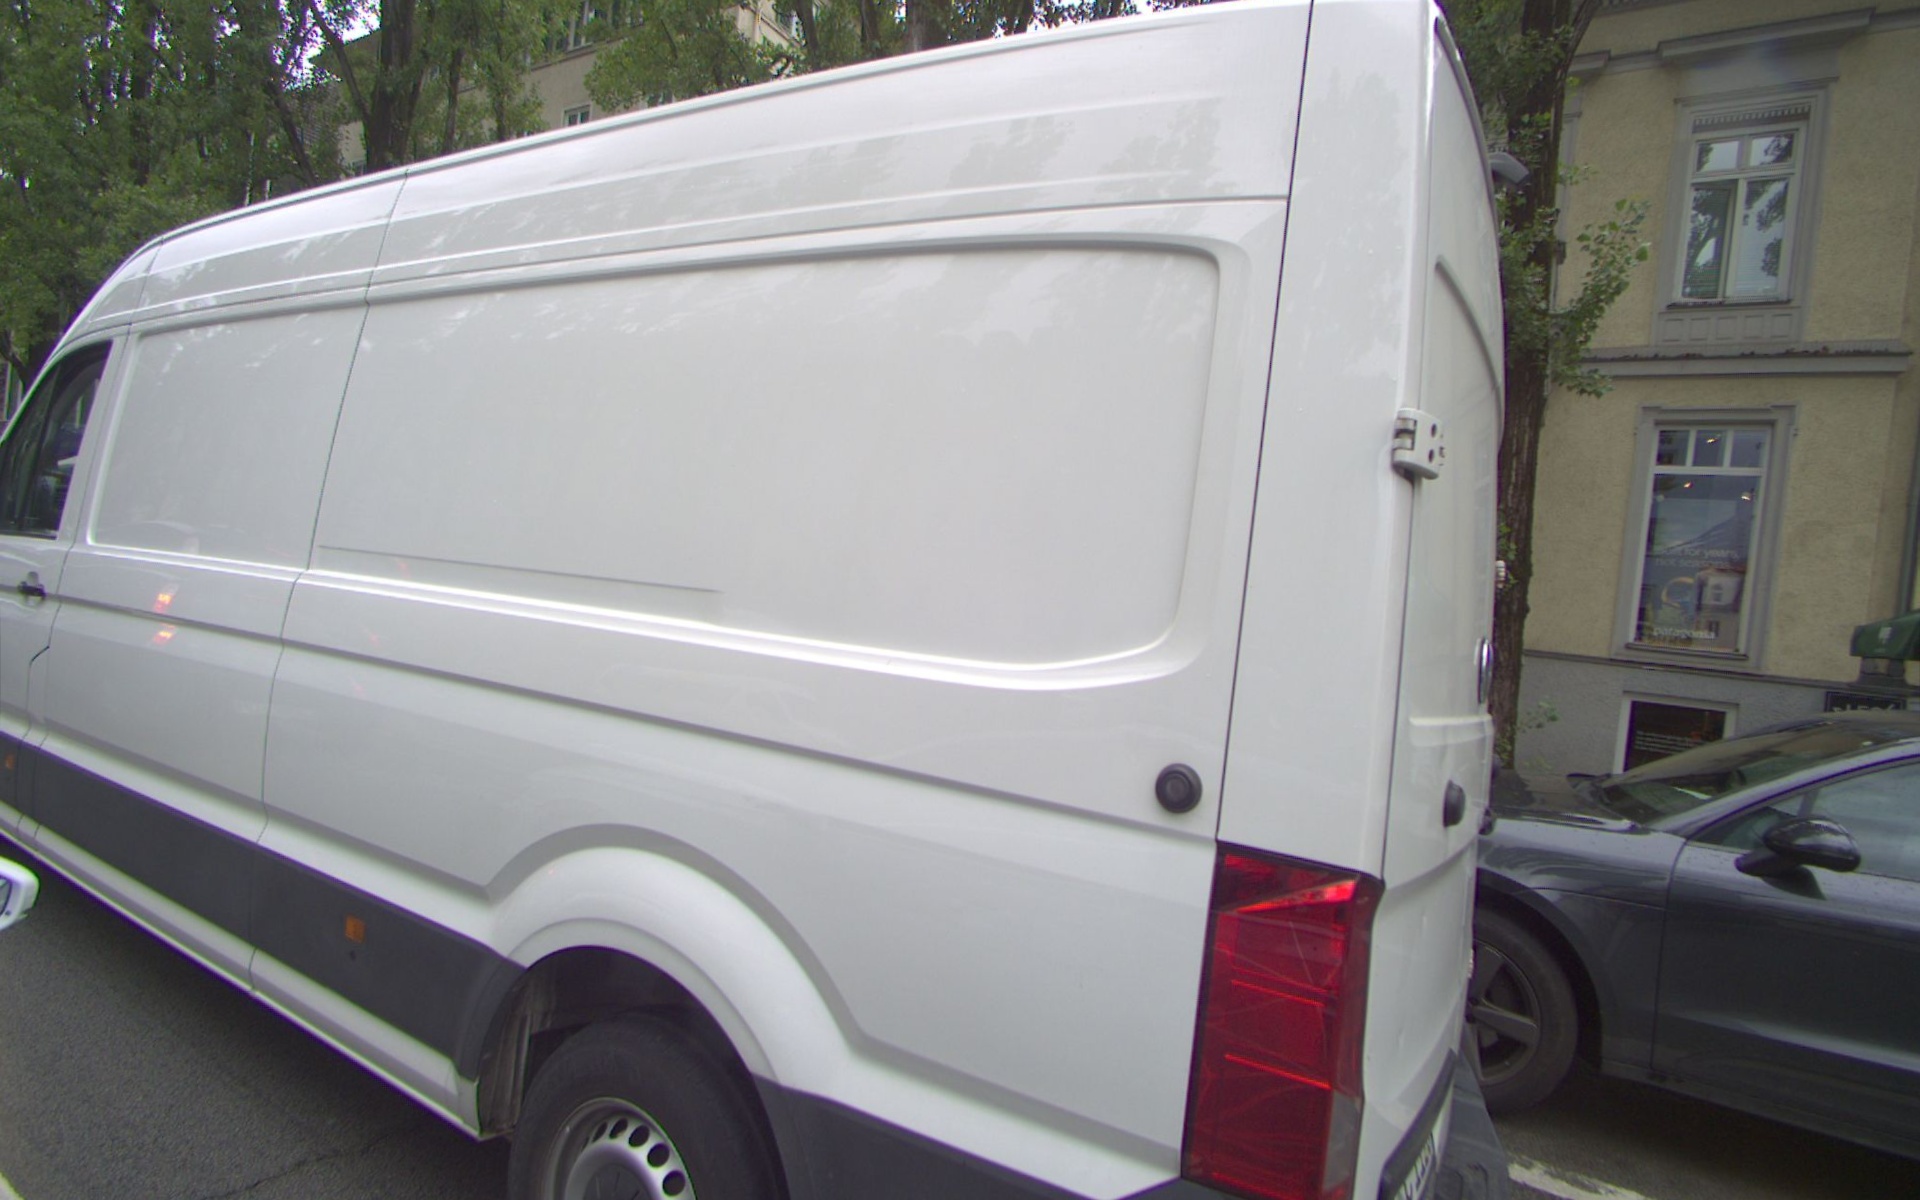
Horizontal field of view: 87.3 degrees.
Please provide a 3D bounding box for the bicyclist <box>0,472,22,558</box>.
[{"bbox_3d":[-20.839,-1.863,21.546,0.870,1.788,0.768,7,1,31],"label":"bicyclist"}]

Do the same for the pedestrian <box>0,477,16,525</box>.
[{"bbox_3d":[-35.536,-3.689,37.156,0.745,1.707,0.674,6,1,27],"label":"pedestrian"}]

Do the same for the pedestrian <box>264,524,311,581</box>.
[{"bbox_3d":[-17.420,-1.231,26.054,0.787,1.340,0.639,7,1,31],"label":"pedestrian"}]

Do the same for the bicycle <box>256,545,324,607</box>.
[{"bbox_3d":[-12.344,-0.441,18.520,1.429,1.009,0.349,6,2,28],"label":"bicycle"}]

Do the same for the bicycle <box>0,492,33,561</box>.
[{"bbox_3d":[-20.860,-1.652,21.544,2.408,1.366,0.773,7,0,31],"label":"bicycle"}]

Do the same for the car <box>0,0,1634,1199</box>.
[{"bbox_3d":[-1.770,0.083,3.541,6.619,2.522,2.066,7,-1,32],"label":"car"}]

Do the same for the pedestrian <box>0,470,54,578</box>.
[{"bbox_3d":[-16.737,-1.359,17.755,0.857,1.795,0.827,7,1,36],"label":"pedestrian"}]

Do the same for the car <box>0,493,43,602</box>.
[{"bbox_3d":[-15.230,-0.954,14.861,3.465,1.510,1.543,7,-1,32],"label":"car"}]

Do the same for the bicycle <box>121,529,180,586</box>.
[{"bbox_3d":[-16.154,-0.858,20.070,1.429,1.009,0.349,6,2,28],"label":"bicycle"}]

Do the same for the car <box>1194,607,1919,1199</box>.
[{"bbox_3d":[3.338,1.151,3.658,4.372,1.657,1.807,7,-1,30],"label":"car"}]
